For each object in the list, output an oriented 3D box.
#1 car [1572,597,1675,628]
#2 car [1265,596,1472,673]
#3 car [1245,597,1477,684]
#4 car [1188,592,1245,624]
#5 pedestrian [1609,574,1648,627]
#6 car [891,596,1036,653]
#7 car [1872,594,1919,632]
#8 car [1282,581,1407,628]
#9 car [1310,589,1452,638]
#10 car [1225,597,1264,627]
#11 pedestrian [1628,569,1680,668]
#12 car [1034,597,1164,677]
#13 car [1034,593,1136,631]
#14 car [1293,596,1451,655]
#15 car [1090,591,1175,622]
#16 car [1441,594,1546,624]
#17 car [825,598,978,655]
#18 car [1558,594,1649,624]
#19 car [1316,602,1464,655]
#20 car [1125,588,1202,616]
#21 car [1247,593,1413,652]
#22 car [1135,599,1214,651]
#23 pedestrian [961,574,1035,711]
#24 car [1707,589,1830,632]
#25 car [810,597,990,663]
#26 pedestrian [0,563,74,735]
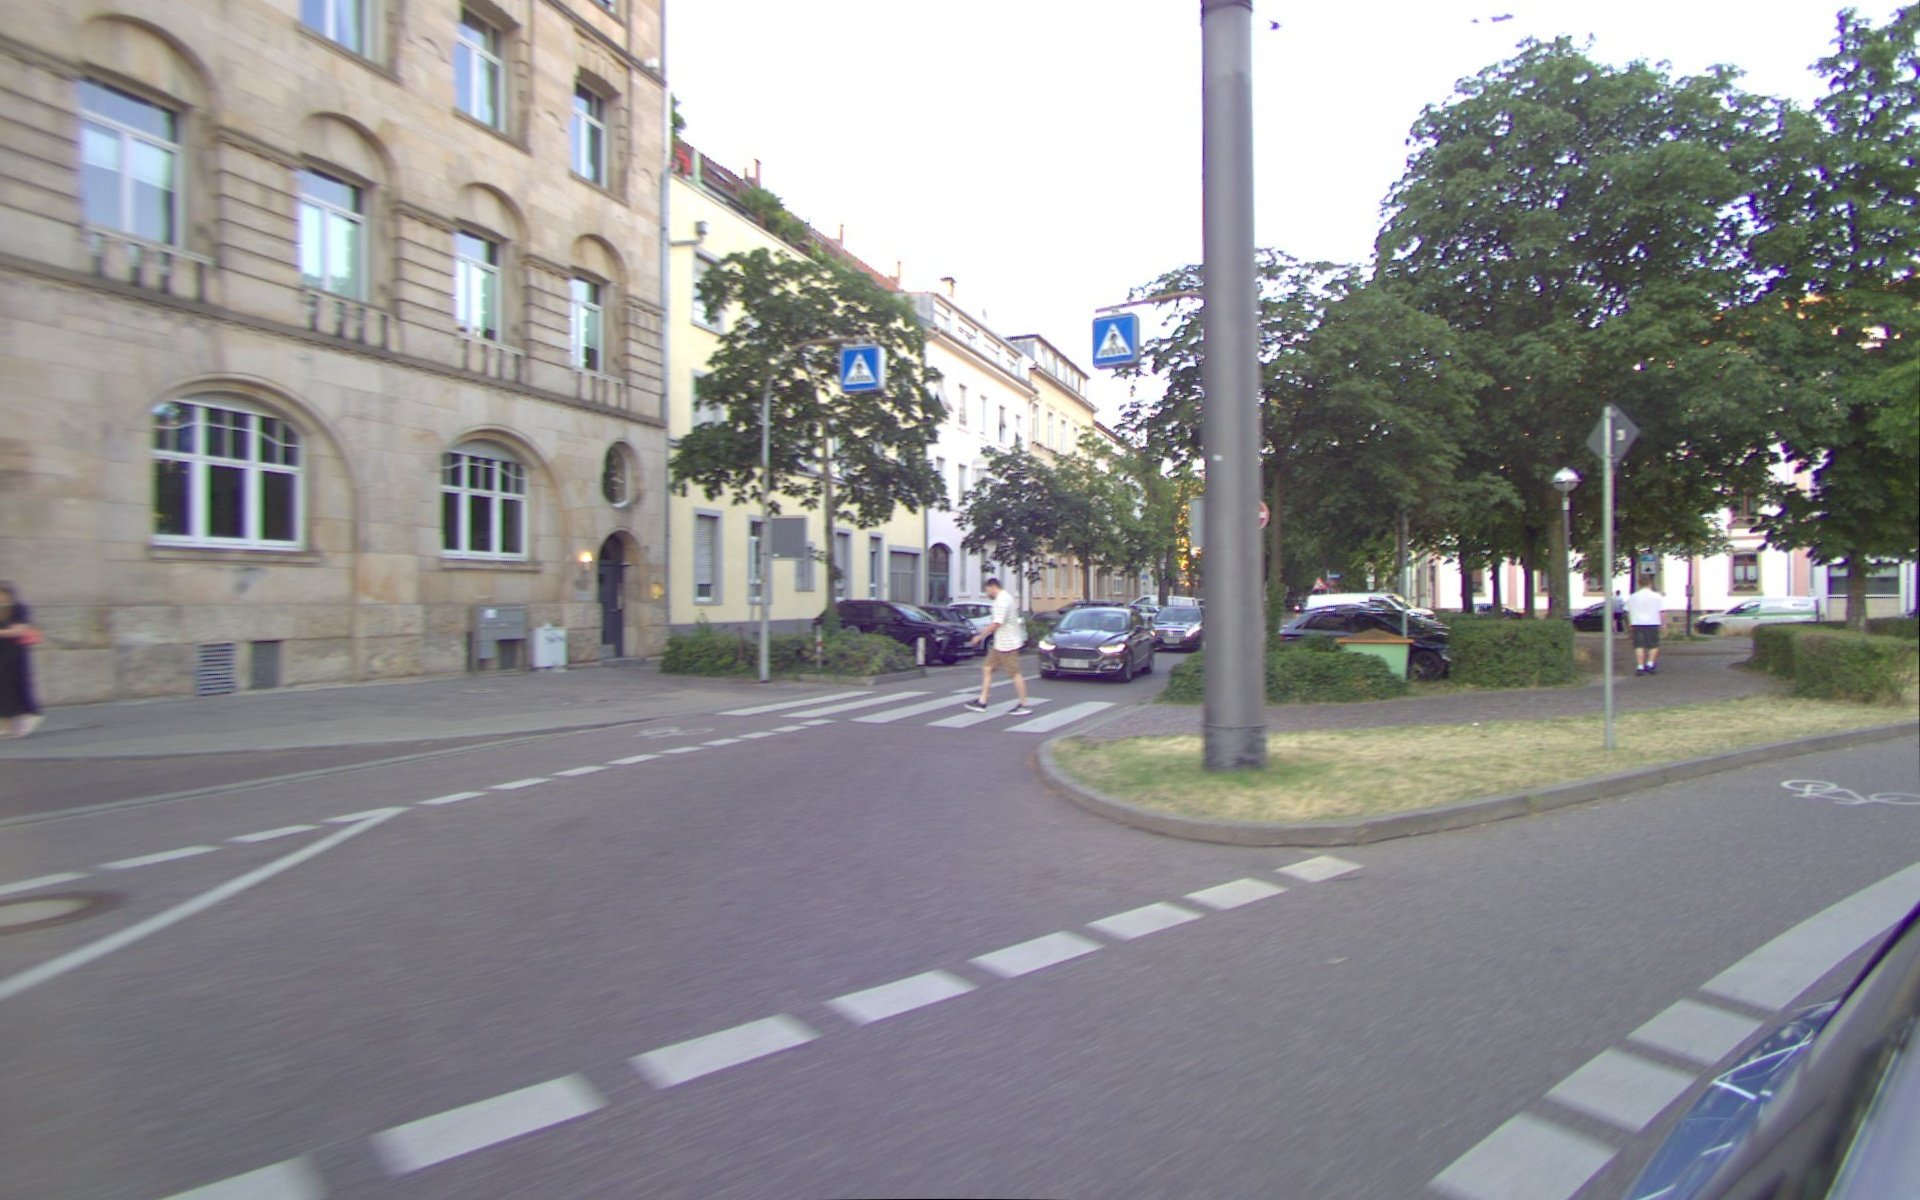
[{"bbox_3d":[30.655,0.558,46.818,3.769,1.353,1.701,0,-1,43],"label":"car"},{"bbox_3d":[9.231,0.723,22.986,4.046,1.576,1.840,0,-1,38],"label":"car"},{"bbox_3d":[8.075,0.751,20.501,4.046,1.576,1.840,0,-1,38],"label":"car"},{"bbox_3d":[19.530,0.616,77.117,4.020,2.323,1.985,0,-1,22],"label":"car"},{"bbox_3d":[26.096,0.041,39.518,0.988,2.039,0.831,1,-1,-16],"label":"pedestrian"},{"bbox_3d":[0.108,0.711,30.836,4.025,1.590,1.822,0,-1,25],"label":"car"},{"bbox_3d":[38.188,0.497,39.167,4.307,1.427,1.779,0,2,43],"label":"car"},{"bbox_3d":[17.559,0.208,46.385,1.935,2.048,5.069,1,-1,-44],"label":"car"},{"bbox_3d":[17.387,0.529,41.968,2.086,1.927,5.069,1,-1,-44],"label":"car"},{"bbox_3d":[15.344,0.636,54.534,1.798,1.501,4.109,0,-1,19],"label":"car"},{"bbox_3d":[12.645,0.329,18.435,0.764,1.737,0.775,0,-1,36],"label":"pedestrian"},{"bbox_3d":[3.025,0.715,21.254,1.799,1.501,4.105,0,-1,21],"label":"car"},{"bbox_3d":[5.421,0.517,43.819,4.020,1.571,1.985,1,-1,22],"label":"car"},{"bbox_3d":[12.367,0.712,30.463,4.046,1.638,1.973,0,-1,38],"label":"car"},{"bbox_3d":[9.189,0.348,53.969,4.046,1.571,1.973,0,-1,38],"label":"car"},{"bbox_3d":[26.648,0.416,50.615,4.380,1.437,1.701,0,-1,43],"label":"car"},{"bbox_3d":[-1.673,0.718,29.102,4.024,1.504,1.822,1,-1,24],"label":"car"},{"bbox_3d":[32.788,0.424,51.613,3.665,1.468,1.674,0,-1,45],"label":"car"},{"bbox_3d":[13.810,0.881,32.569,4.046,1.571,1.973,0,-1,38],"label":"car"},{"bbox_3d":[12.243,0.133,60.892,4.347,1.633,1.717,1,-1,22],"label":"car"},{"bbox_3d":[10.483,0.595,28.791,4.046,1.571,1.973,0,-1,38],"label":"car"},{"bbox_3d":[6.786,0.748,31.720,1.799,1.501,4.105,0,-1,21],"label":"car"},{"bbox_3d":[0.520,0.563,13.844,0.806,1.815,0.592,1,-1,-35],"label":"pedestrian"},{"bbox_3d":[34.371,0.409,43.071,3.999,1.746,1.675,0,-1,43],"label":"car"},{"bbox_3d":[-1.577,0.744,26.454,4.351,1.578,1.822,1,-1,24],"label":"car"},{"bbox_3d":[-9.809,0.491,10.512,0.571,1.731,0.715,0,-1,26],"label":"pedestrian"}]
